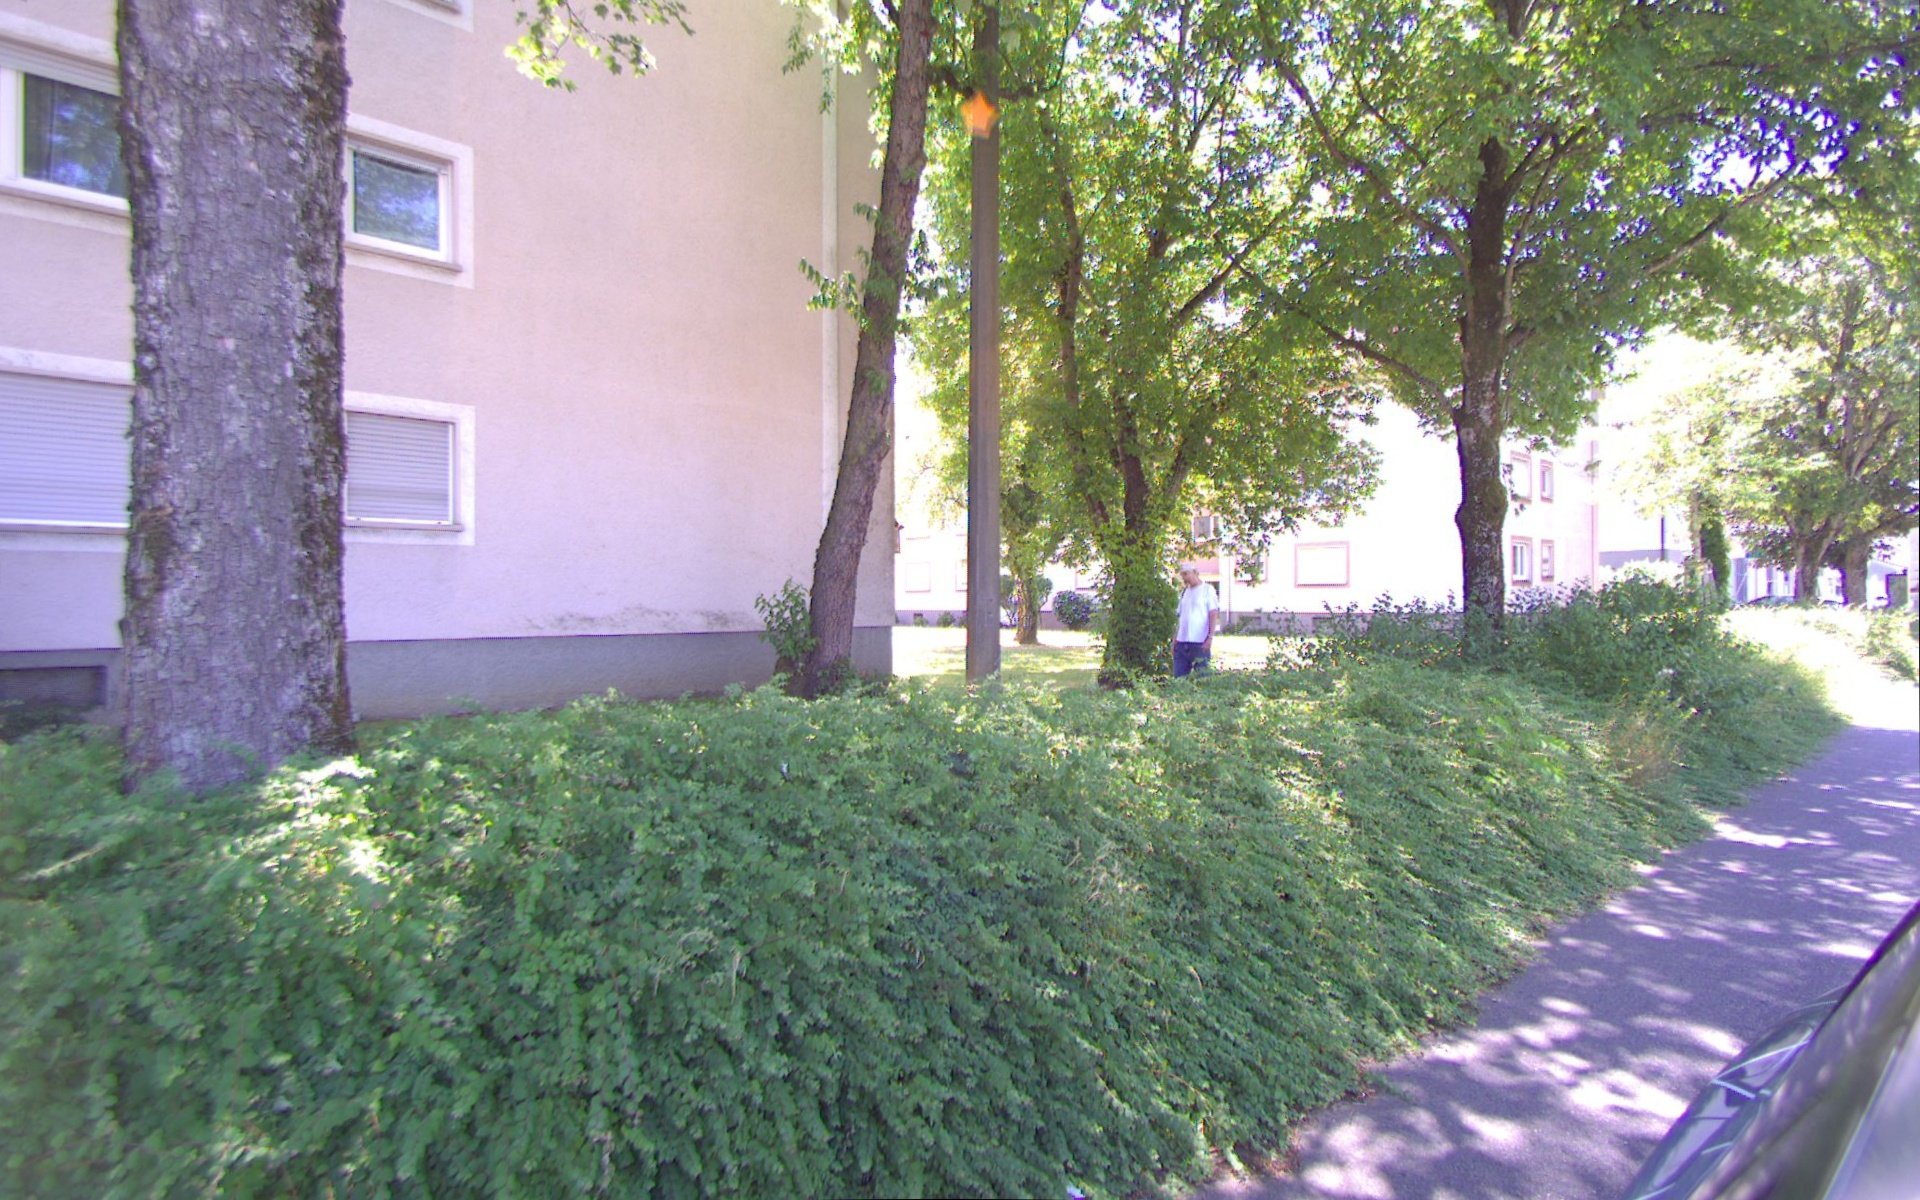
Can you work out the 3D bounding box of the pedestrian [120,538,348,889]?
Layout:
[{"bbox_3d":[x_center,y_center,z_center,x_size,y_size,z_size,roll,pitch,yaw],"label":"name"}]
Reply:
[{"bbox_3d":[-3.809,0.526,5.324,0.717,1.654,0.839,1,0,41],"label":"pedestrian"}]

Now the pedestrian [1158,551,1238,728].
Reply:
[{"bbox_3d":[2.697,0.423,11.424,0.668,1.897,0.894,-1,0,27],"label":"pedestrian"}]
